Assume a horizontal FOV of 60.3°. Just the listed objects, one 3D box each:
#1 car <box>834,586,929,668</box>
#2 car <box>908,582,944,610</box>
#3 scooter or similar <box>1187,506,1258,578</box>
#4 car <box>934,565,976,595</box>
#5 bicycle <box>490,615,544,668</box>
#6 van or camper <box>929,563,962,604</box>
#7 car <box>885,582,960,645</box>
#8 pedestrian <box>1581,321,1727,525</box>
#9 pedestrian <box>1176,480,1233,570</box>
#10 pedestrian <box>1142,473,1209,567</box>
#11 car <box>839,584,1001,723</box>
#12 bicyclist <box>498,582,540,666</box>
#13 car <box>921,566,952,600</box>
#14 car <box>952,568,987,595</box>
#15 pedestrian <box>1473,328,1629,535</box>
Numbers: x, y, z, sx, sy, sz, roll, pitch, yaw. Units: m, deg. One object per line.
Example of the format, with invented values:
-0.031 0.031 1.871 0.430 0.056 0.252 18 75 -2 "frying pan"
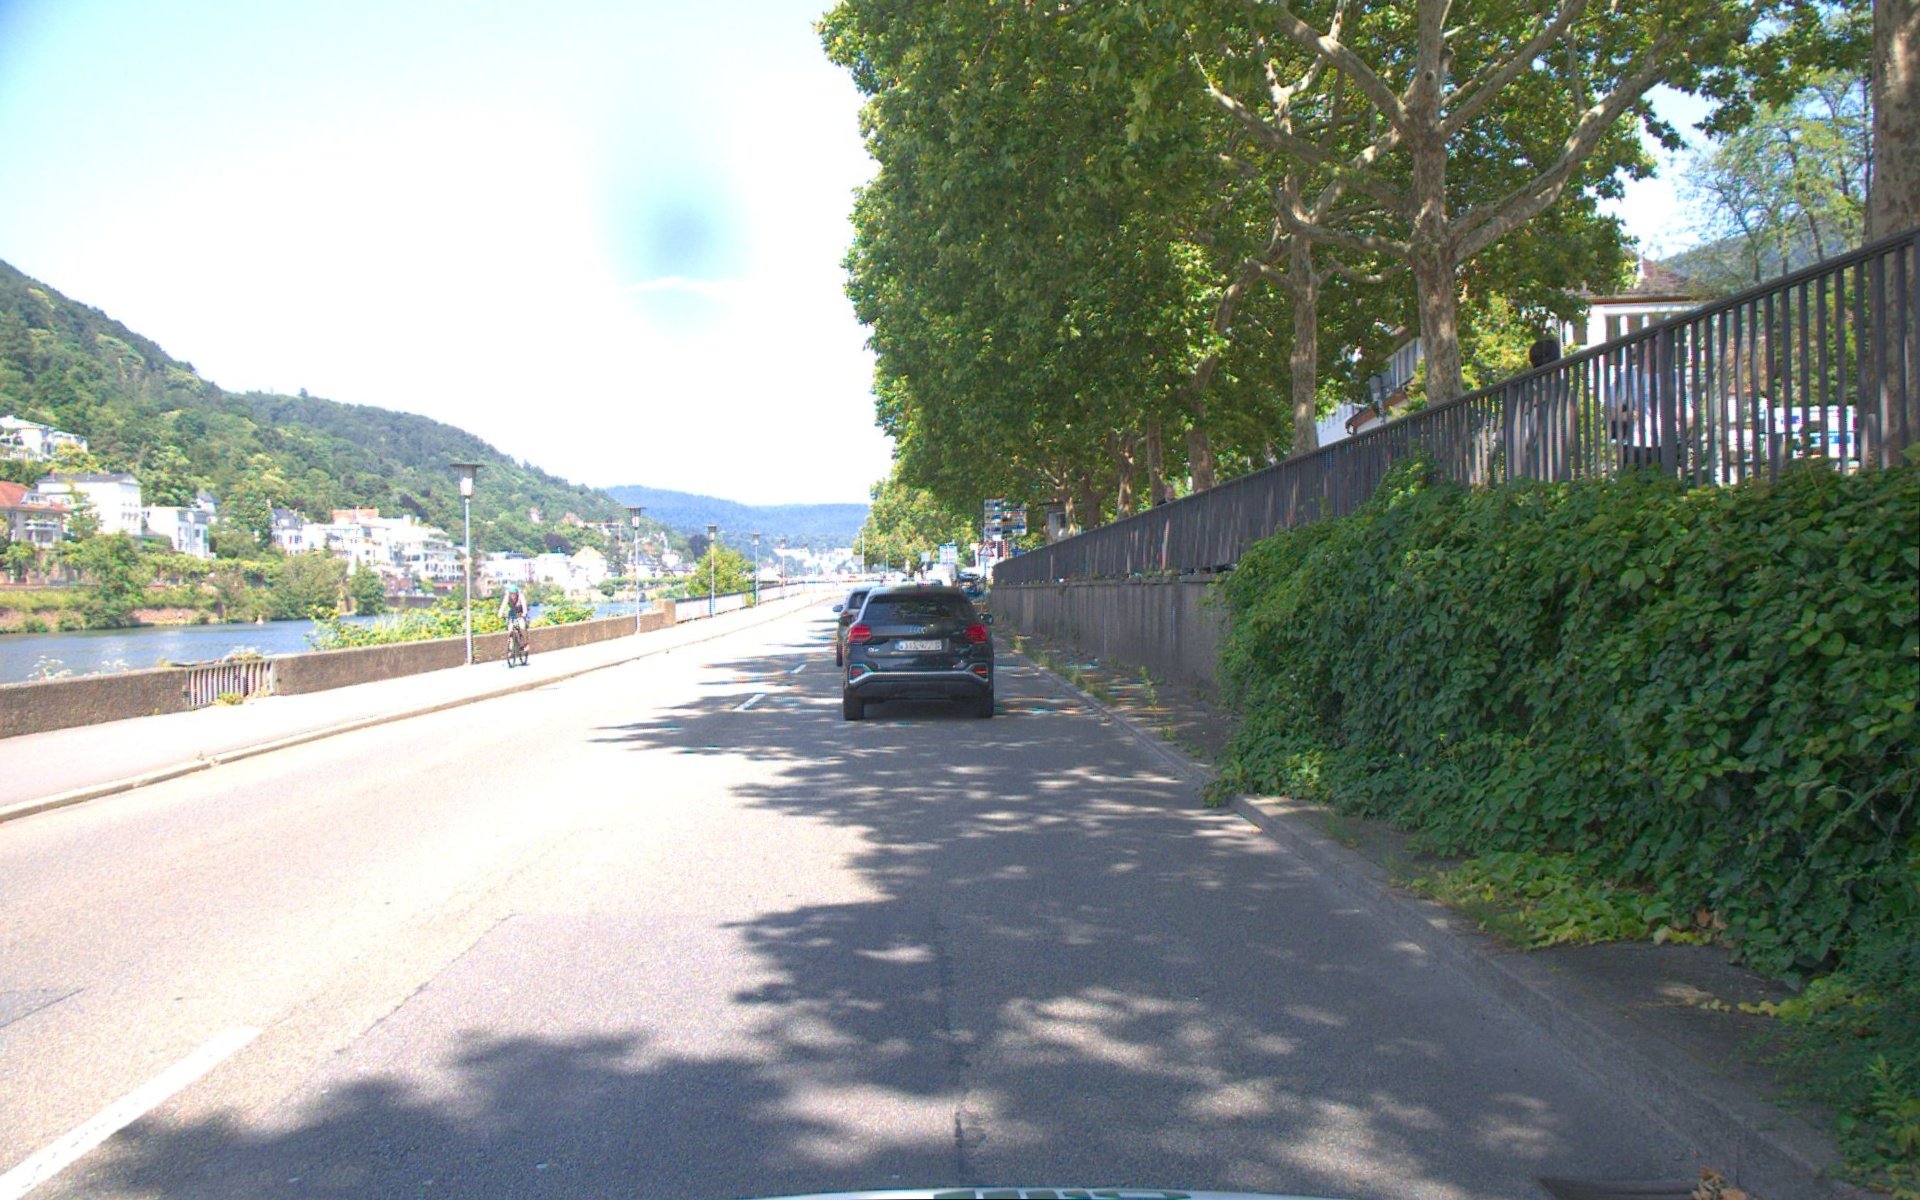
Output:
-1.575 0.489 33.360 1.792 1.537 3.998 0 1 -2 "car"
-1.817 -0.239 87.610 1.792 1.469 3.998 0 1 -2 "car"
4.139 -0.903 26.153 0.838 1.044 1.107 -4 0 -3 "scooter or similar"
-0.443 -1.585 131.360 3.037 2.048 5.822 -4 1 -2 "car"
-9.189 0.847 34.353 0.620 1.029 1.985 -2 0 -2 "bicycle"
-1.064 -1.191 120.523 2.263 2.897 4.245 -2 0 0 "van or camper"
-0.983 0.296 41.967 1.792 1.512 3.998 0 1 -2 "car"
5.094 -1.282 12.185 0.631 1.389 0.794 -4 0 -4 "pedestrian"
4.005 -1.215 27.102 0.667 1.389 0.989 -4 1 -2 "pedestrian"
3.887 -1.428 29.871 0.918 1.606 1.027 -4 0 -4 "pedestrian"
-0.521 0.573 20.310 1.792 1.512 3.998 0 1 -2 "car"
-9.148 0.489 34.333 0.624 1.702 0.870 -2 0 -3 "bicyclist"
-1.608 -1.118 111.455 1.953 2.207 3.998 -1 1 -2 "car"
0.754 -1.601 141.238 2.609 2.048 5.822 -4 1 -2 "car"
4.290 -1.204 12.061 0.738 1.389 0.813 -4 0 -4 "pedestrian"
